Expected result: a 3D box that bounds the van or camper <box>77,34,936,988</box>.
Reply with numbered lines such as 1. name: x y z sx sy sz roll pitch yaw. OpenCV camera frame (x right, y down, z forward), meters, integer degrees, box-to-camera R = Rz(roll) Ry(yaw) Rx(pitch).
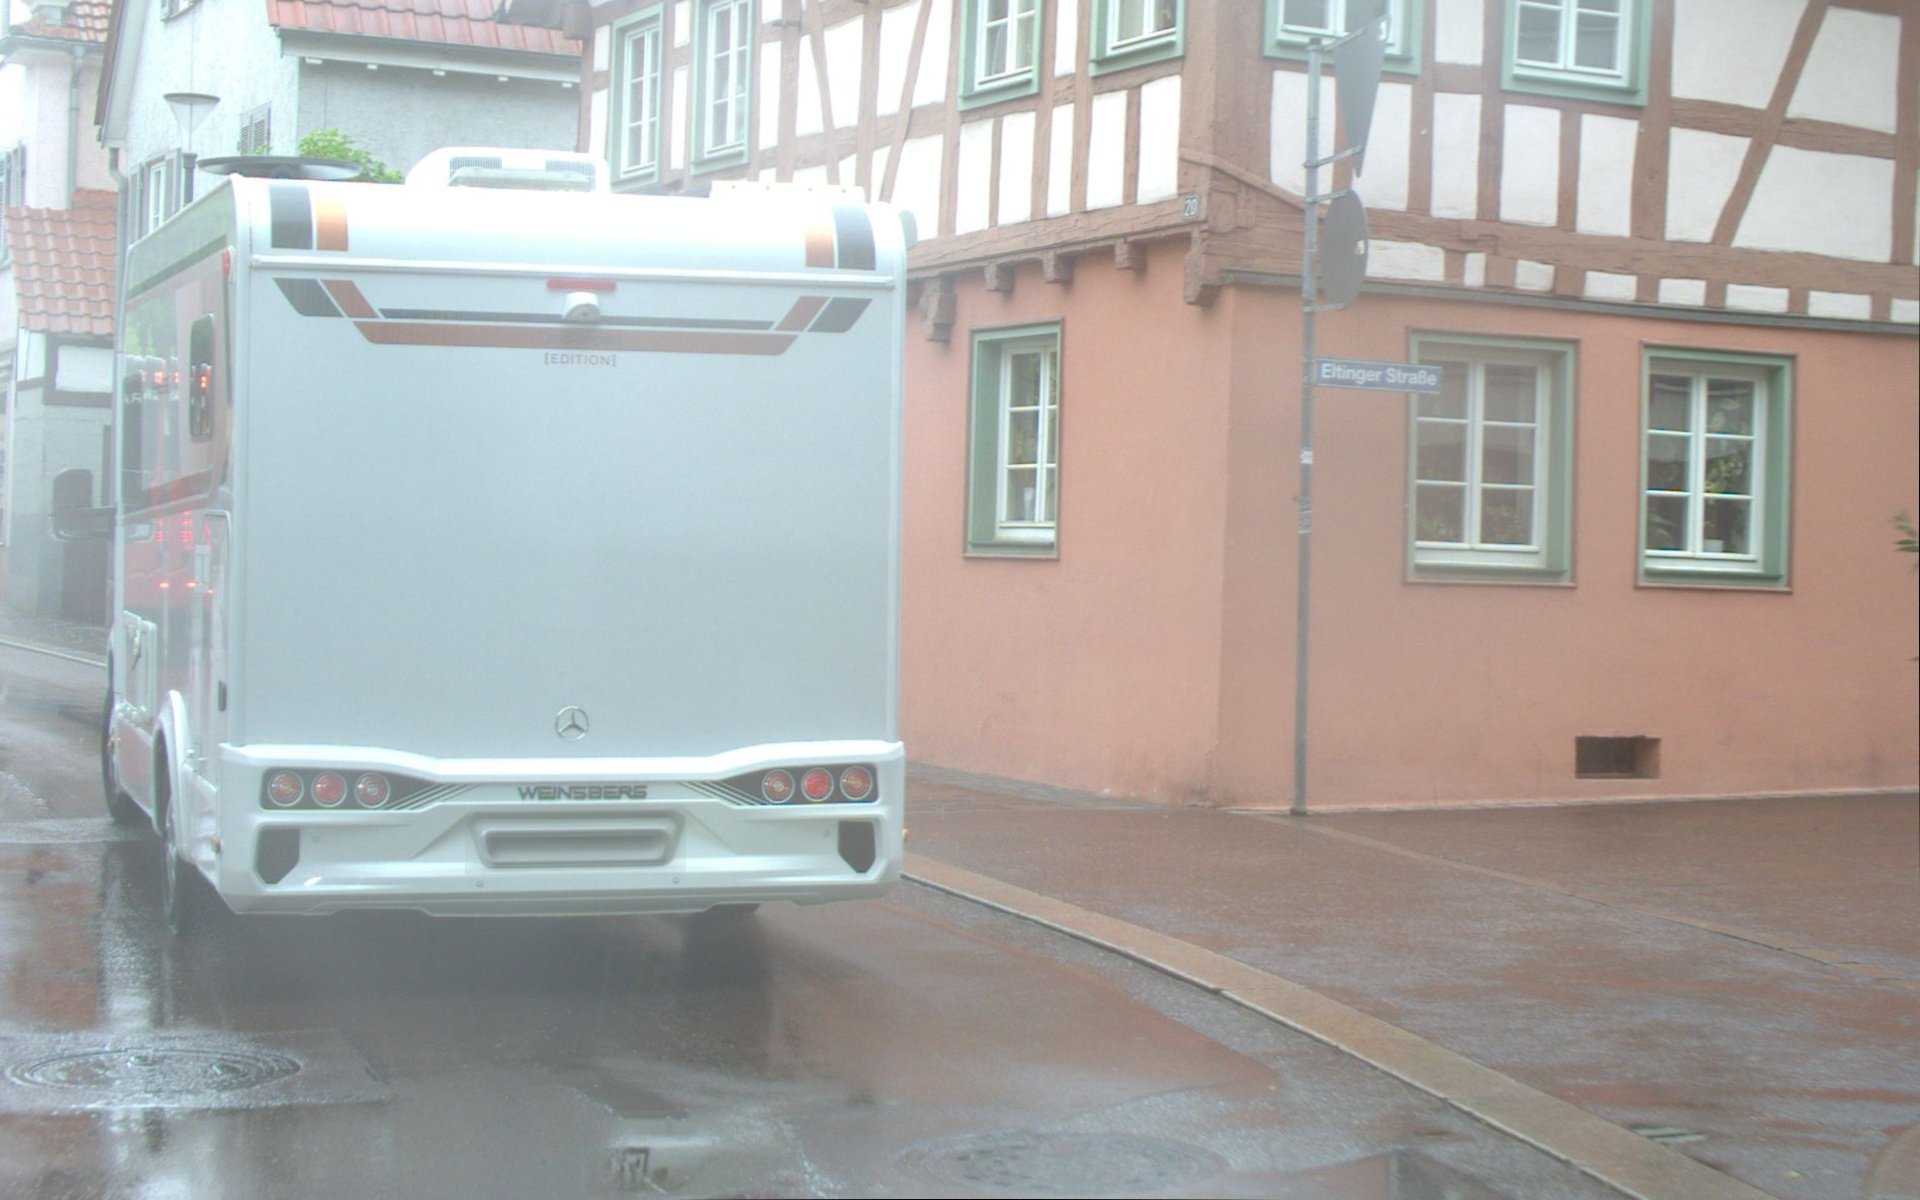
1. van or camper: -2.168 -0.286 13.878 2.325 2.909 6.395 1 0 -17
